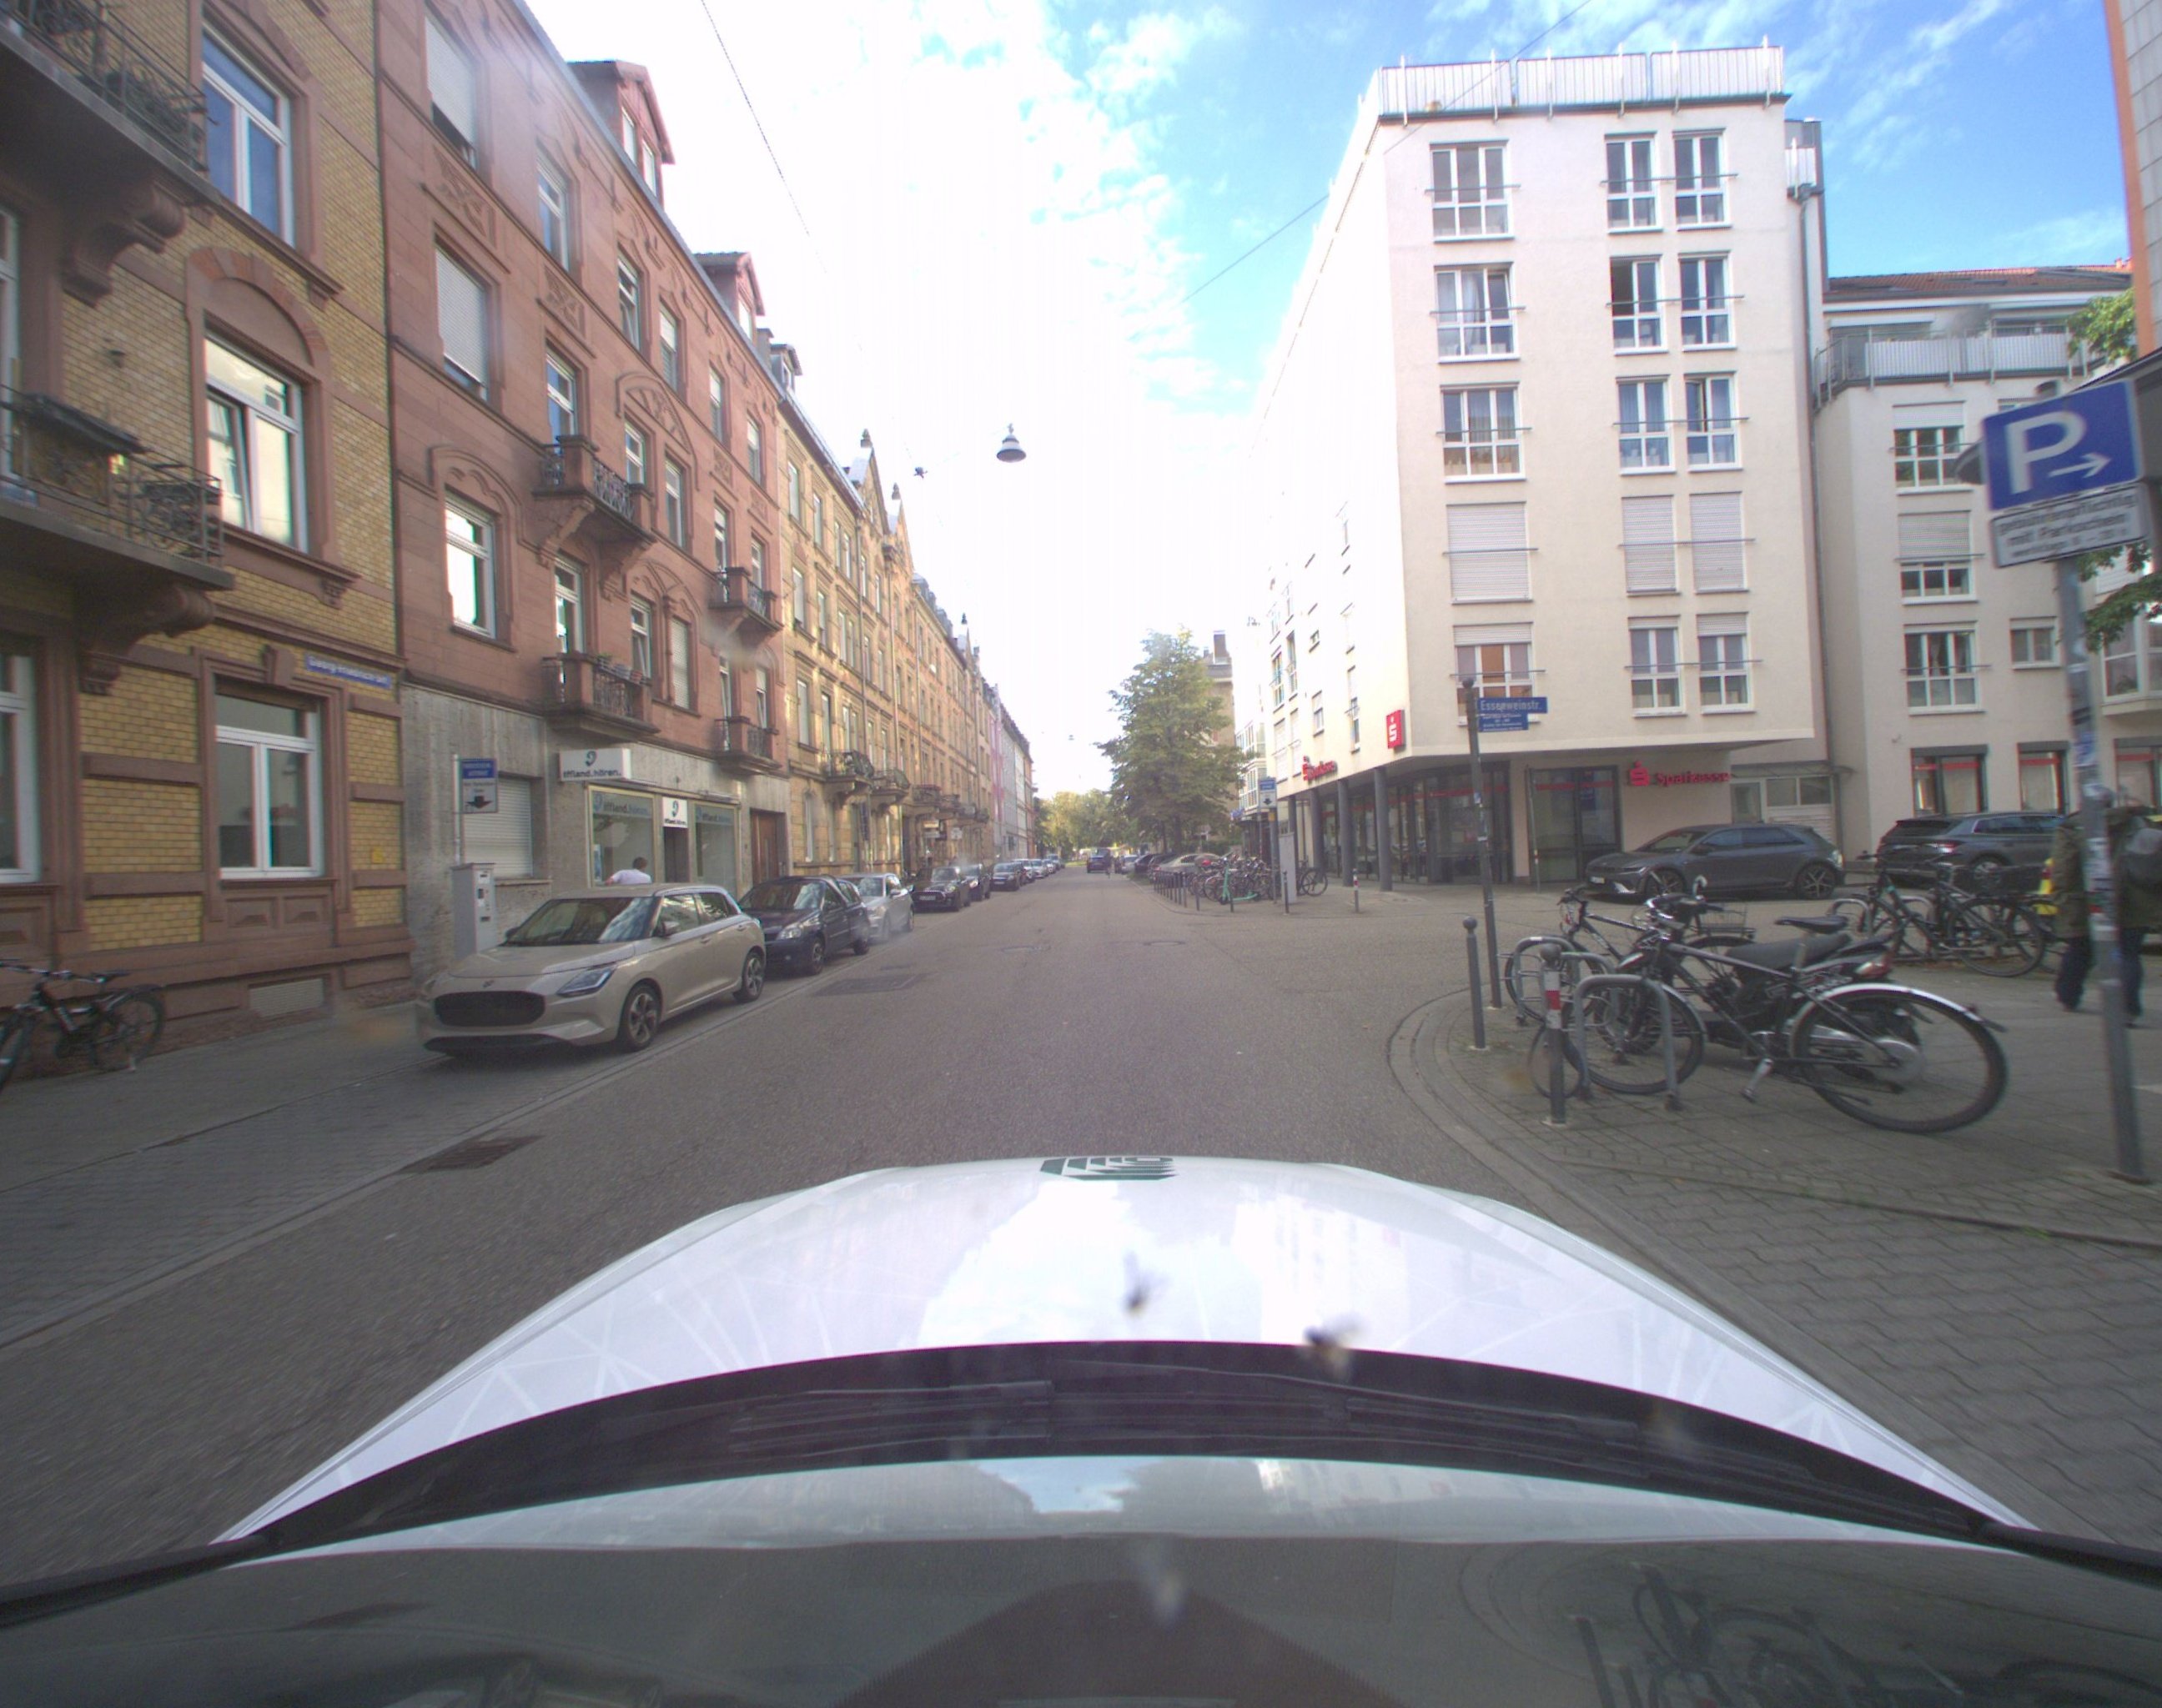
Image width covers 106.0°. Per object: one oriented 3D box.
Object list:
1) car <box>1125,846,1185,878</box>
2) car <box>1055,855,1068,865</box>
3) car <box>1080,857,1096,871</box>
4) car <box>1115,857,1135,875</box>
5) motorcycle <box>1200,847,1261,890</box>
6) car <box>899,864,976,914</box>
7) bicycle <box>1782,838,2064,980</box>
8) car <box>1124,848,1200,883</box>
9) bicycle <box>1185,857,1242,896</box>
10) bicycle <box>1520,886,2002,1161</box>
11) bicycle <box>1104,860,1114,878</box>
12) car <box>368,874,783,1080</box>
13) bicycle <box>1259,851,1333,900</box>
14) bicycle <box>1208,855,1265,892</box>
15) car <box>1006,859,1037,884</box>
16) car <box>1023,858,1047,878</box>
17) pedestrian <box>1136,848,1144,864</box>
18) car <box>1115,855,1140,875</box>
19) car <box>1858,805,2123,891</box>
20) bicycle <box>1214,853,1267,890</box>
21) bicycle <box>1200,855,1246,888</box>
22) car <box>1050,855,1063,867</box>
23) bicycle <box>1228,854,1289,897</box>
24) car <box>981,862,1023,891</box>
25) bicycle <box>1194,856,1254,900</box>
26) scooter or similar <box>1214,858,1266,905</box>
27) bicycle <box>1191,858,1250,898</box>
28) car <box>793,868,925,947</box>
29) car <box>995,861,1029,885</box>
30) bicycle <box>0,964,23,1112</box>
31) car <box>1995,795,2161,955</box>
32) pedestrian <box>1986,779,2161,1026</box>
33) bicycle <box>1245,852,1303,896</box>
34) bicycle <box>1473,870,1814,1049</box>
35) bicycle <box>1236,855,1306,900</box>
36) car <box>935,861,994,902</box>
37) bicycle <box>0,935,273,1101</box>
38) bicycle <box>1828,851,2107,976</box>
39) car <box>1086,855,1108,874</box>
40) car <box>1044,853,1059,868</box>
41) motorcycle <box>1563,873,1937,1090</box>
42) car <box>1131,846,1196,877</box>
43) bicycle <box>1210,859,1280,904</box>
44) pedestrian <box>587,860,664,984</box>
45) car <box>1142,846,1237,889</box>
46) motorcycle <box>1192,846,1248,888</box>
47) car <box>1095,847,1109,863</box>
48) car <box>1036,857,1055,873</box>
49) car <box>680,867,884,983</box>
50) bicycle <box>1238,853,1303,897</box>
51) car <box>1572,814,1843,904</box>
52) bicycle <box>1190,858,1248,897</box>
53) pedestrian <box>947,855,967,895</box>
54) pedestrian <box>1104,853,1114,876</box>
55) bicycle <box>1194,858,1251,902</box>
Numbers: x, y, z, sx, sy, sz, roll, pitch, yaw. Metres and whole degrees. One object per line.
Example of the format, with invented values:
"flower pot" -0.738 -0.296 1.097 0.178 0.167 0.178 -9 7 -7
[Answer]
"car" 5.160 0.528 57.063 3.968 1.683 1.740 -5 8 4
"car" -2.972 0.926 125.010 1.581 1.539 3.755 -1 0 3
"car" 0.802 1.149 94.098 1.791 1.472 3.887 -1 0 0
"car" 3.972 1.091 74.039 1.684 1.550 3.689 -1 0 2
"motorcycle" 5.695 0.534 31.075 2.140 1.434 0.766 -5 0 5
"car" -4.564 1.073 26.452 1.684 1.386 3.868 -1 0 1
"bicycle" 8.067 0.496 7.958 0.533 1.191 1.928 -3 -1 -8
"car" 4.483 0.619 44.885 3.967 1.583 2.003 -5 0 5
"bicycle" 4.522 0.764 27.786 1.786 1.159 0.501 -5 0 3
"bicycle" 3.381 0.762 4.232 1.747 1.095 0.688 -5 -1 43
"bicycle" 2.046 1.067 59.395 0.715 1.274 1.885 -1 0 2
"car" -4.776 1.036 8.508 1.735 1.483 3.984 -1 0 1
"bicycle" 5.735 0.568 21.798 1.758 1.162 0.651 -5 0 3
"bicycle" 5.360 0.677 28.188 1.777 1.159 0.503 -5 0 26
"car" -3.956 1.132 55.034 1.684 1.550 3.868 -2 0 1
"car" -3.753 1.103 67.106 1.684 1.550 3.867 -1 0 0
"pedestrian" 8.157 0.278 112.036 0.992 2.230 0.899 -1 0 1
"car" 3.908 0.915 69.387 1.923 1.638 4.001 -1 0 1
"car" 19.002 -0.142 17.142 3.588 1.567 1.644 -3 2 4
"bicycle" 5.721 0.634 29.180 1.725 1.159 0.500 -5 0 2
"bicycle" 5.658 0.697 32.419 1.658 1.159 0.557 -5 0 2
"car" -3.404 1.005 113.808 1.684 1.550 3.867 -1 0 0
"bicycle" 5.393 0.638 24.672 1.771 1.146 0.409 -5 0 -20
"car" -4.085 1.144 42.739 1.684 1.369 3.868 1 0 1
"bicycle" 4.348 0.720 24.745 1.771 1.146 0.409 -5 0 -20
"scooter or similar" 4.201 0.728 21.599 1.193 1.147 0.381 -5 1 32
"bicycle" 4.462 0.768 26.108 1.758 1.099 0.412 -5 0 3
"car" -4.647 1.064 17.650 1.684 1.386 3.868 -1 0 1
"car" -4.197 1.148 50.149 1.684 1.369 3.868 1 0 1
"bicycle" -8.138 1.323 5.033 0.851 1.037 1.773 -1 0 2
"car" 12.013 0.112 8.079 3.771 1.501 1.797 -3 -1 1
"pedestrian" 7.038 0.309 5.638 0.816 1.588 0.786 -4 -1 36
"bicycle" 5.593 0.566 23.629 1.490 1.146 0.411 -5 0 0
"bicycle" 4.080 0.720 6.036 1.938 1.095 0.694 -5 -2 43
"bicycle" 5.324 0.657 22.847 1.758 1.087 0.651 -5 0 3
"car" -4.571 1.062 32.487 1.684 1.437 3.868 -1 0 1
"bicycle" -8.201 1.303 6.890 0.894 1.037 1.773 -1 0 2
"bicycle" 8.593 0.537 8.040 0.444 1.064 1.922 -3 -1 -7
"car" 1.563 1.073 79.199 1.958 1.741 4.041 -2 -1 1
"car" -3.569 0.774 98.500 1.684 1.821 3.867 -1 0 0
"motorcycle" 4.026 0.716 5.028 1.644 1.095 0.612 -5 -1 43
"car" 5.272 0.452 51.966 3.967 1.640 2.003 -5 0 5
"bicycle" 4.475 0.748 22.209 1.762 1.056 0.411 -5 0 -5
"pedestrian" -6.825 0.993 12.228 0.730 1.790 0.770 1 0 -6
"car" 4.809 0.606 36.262 3.760 1.546 1.725 -5 -1 -10
"motorcycle" 5.776 0.535 34.014 2.140 1.530 0.687 -5 0 5
"car" 2.777 0.140 108.511 1.776 2.020 3.887 -1 0 0
"car" -3.570 1.069 82.439 1.684 1.550 3.867 -1 0 0
"car" -4.647 1.021 13.325 1.735 1.483 3.984 -1 0 1
"bicycle" 5.606 0.611 24.168 1.763 1.146 0.411 -5 0 -5
"car" 13.221 0.078 17.393 4.345 1.630 1.809 -3 2 1
"bicycle" 4.536 0.765 26.852 1.758 1.118 0.412 -5 0 3
"pedestrian" -5.821 0.962 38.199 0.686 1.853 0.932 -1 0 2
"pedestrian" 2.040 0.760 59.371 0.715 1.650 0.930 -1 0 2
"bicycle" 4.089 0.741 23.577 1.493 1.146 0.411 -5 0 -5
